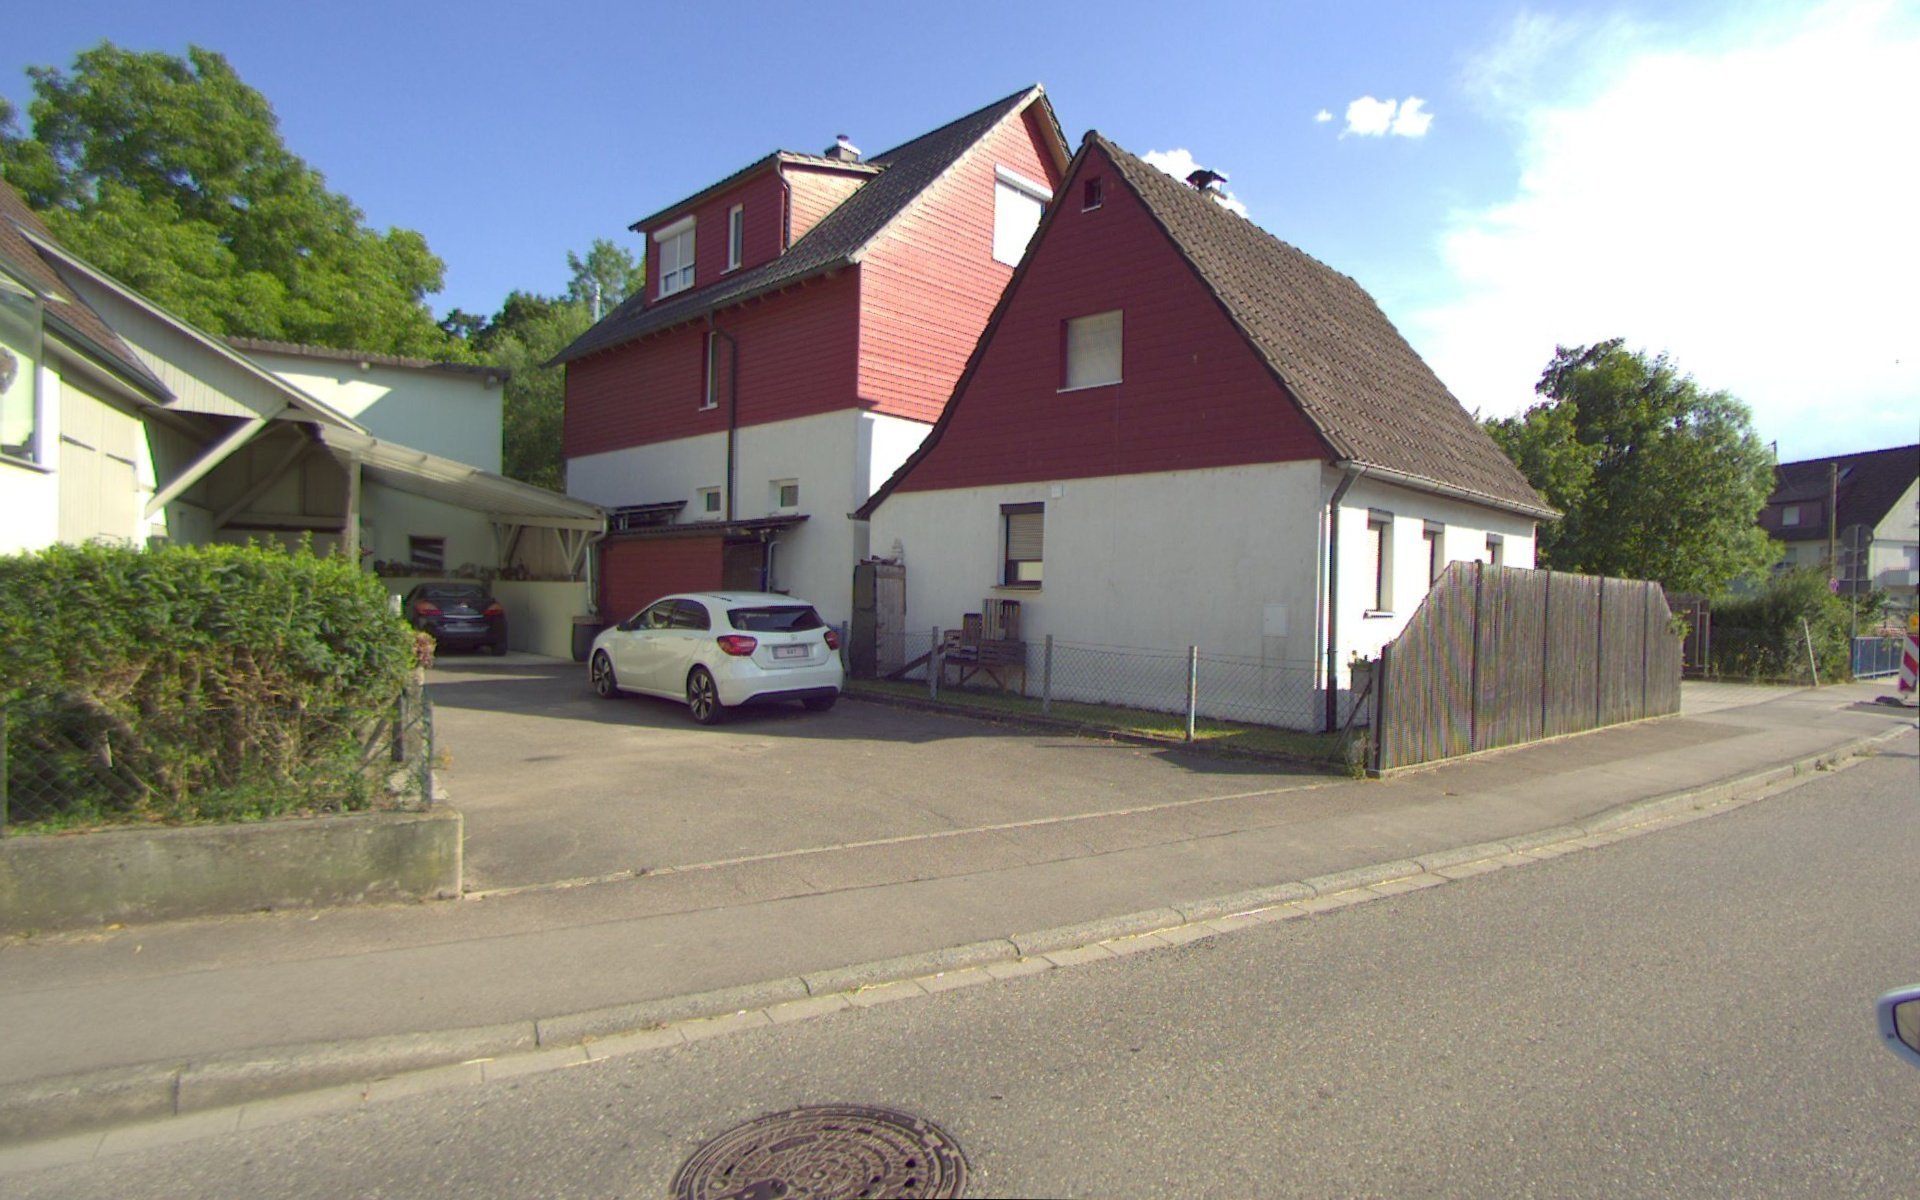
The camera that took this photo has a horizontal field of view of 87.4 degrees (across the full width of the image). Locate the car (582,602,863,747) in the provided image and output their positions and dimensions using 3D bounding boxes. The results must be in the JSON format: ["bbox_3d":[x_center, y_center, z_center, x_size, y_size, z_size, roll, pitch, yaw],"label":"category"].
[{"bbox_3d":[-3.125,0.803,12.764,1.806,1.432,3.846,-1,2,-43],"label":"car"}]

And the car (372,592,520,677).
[{"bbox_3d":[-10.235,0.608,19.876,1.602,1.431,3.846,0,1,-43],"label":"car"}]
